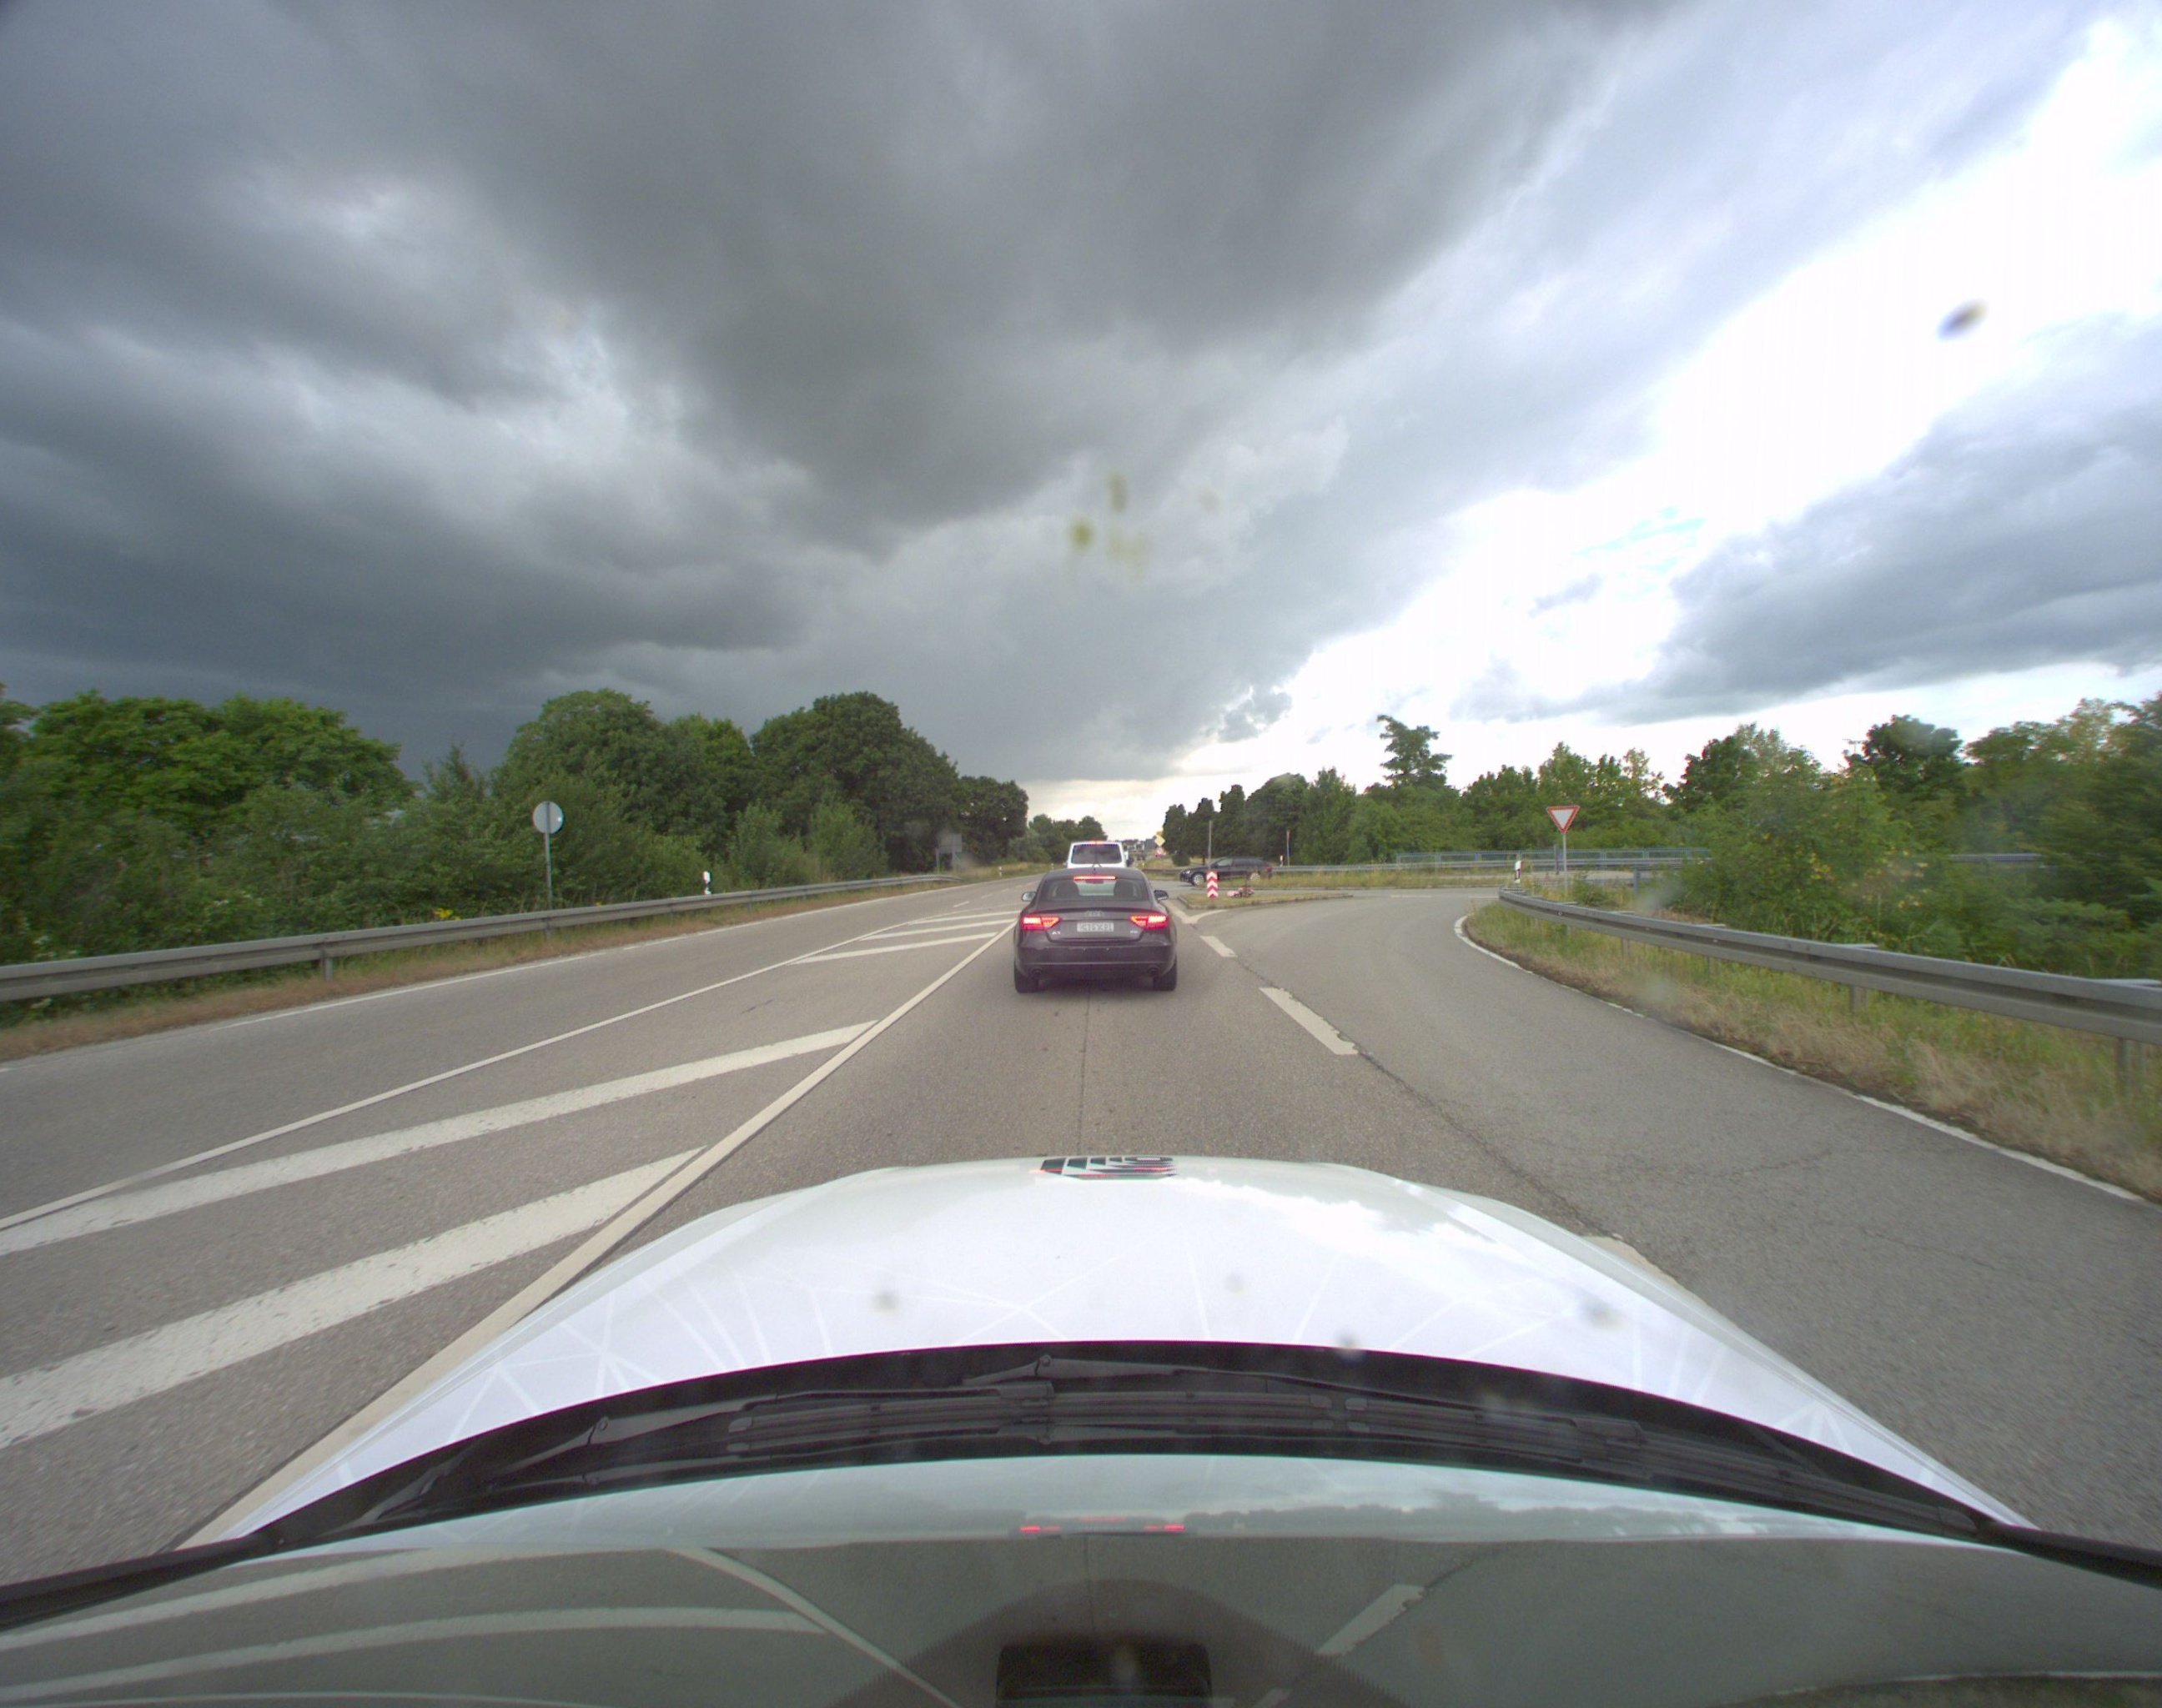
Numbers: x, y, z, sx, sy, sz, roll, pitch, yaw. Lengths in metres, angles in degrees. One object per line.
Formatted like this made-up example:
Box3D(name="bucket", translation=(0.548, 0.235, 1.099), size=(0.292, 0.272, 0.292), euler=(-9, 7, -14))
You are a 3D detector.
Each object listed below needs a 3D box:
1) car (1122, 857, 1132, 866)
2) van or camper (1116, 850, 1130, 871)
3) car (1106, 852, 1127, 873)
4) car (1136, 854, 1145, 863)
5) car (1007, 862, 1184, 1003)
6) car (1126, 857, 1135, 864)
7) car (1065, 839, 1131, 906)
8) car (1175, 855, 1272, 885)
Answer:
Box3D(name="car", translation=(7.164, 1.164, 125.810), size=(1.251, 1.353, 3.473), euler=(-2, -1, 8))
Box3D(name="van or camper", translation=(7.336, 1.113, 141.732), size=(2.330, 3.481, 5.724), euler=(-1, -1, 4))
Box3D(name="car", translation=(3.709, 0.867, 85.243), size=(1.984, 2.088, 4.005), euler=(-1, -1, 5))
Box3D(name="car", translation=(14.605, 1.124, 200.226), size=(1.986, 2.013, 4.001), euler=(-1, 0, 1))
Box3D(name="car", translation=(0.208, 0.812, 10.243), size=(1.776, 1.376, 4.002), euler=(-1, 0, 2))
Box3D(name="car", translation=(10.440, 1.304, 171.640), size=(1.712, 1.451, 4.003), euler=(0, 0, 3))
Box3D(name="car", translation=(0.539, 0.518, 24.860), size=(1.832, 1.882, 4.002), euler=(-1, 0, 2))
Box3D(name="car", translation=(7.155, 0.798, 41.111), size=(4.580, 1.374, 1.826), euler=(-1, 0, 1))
